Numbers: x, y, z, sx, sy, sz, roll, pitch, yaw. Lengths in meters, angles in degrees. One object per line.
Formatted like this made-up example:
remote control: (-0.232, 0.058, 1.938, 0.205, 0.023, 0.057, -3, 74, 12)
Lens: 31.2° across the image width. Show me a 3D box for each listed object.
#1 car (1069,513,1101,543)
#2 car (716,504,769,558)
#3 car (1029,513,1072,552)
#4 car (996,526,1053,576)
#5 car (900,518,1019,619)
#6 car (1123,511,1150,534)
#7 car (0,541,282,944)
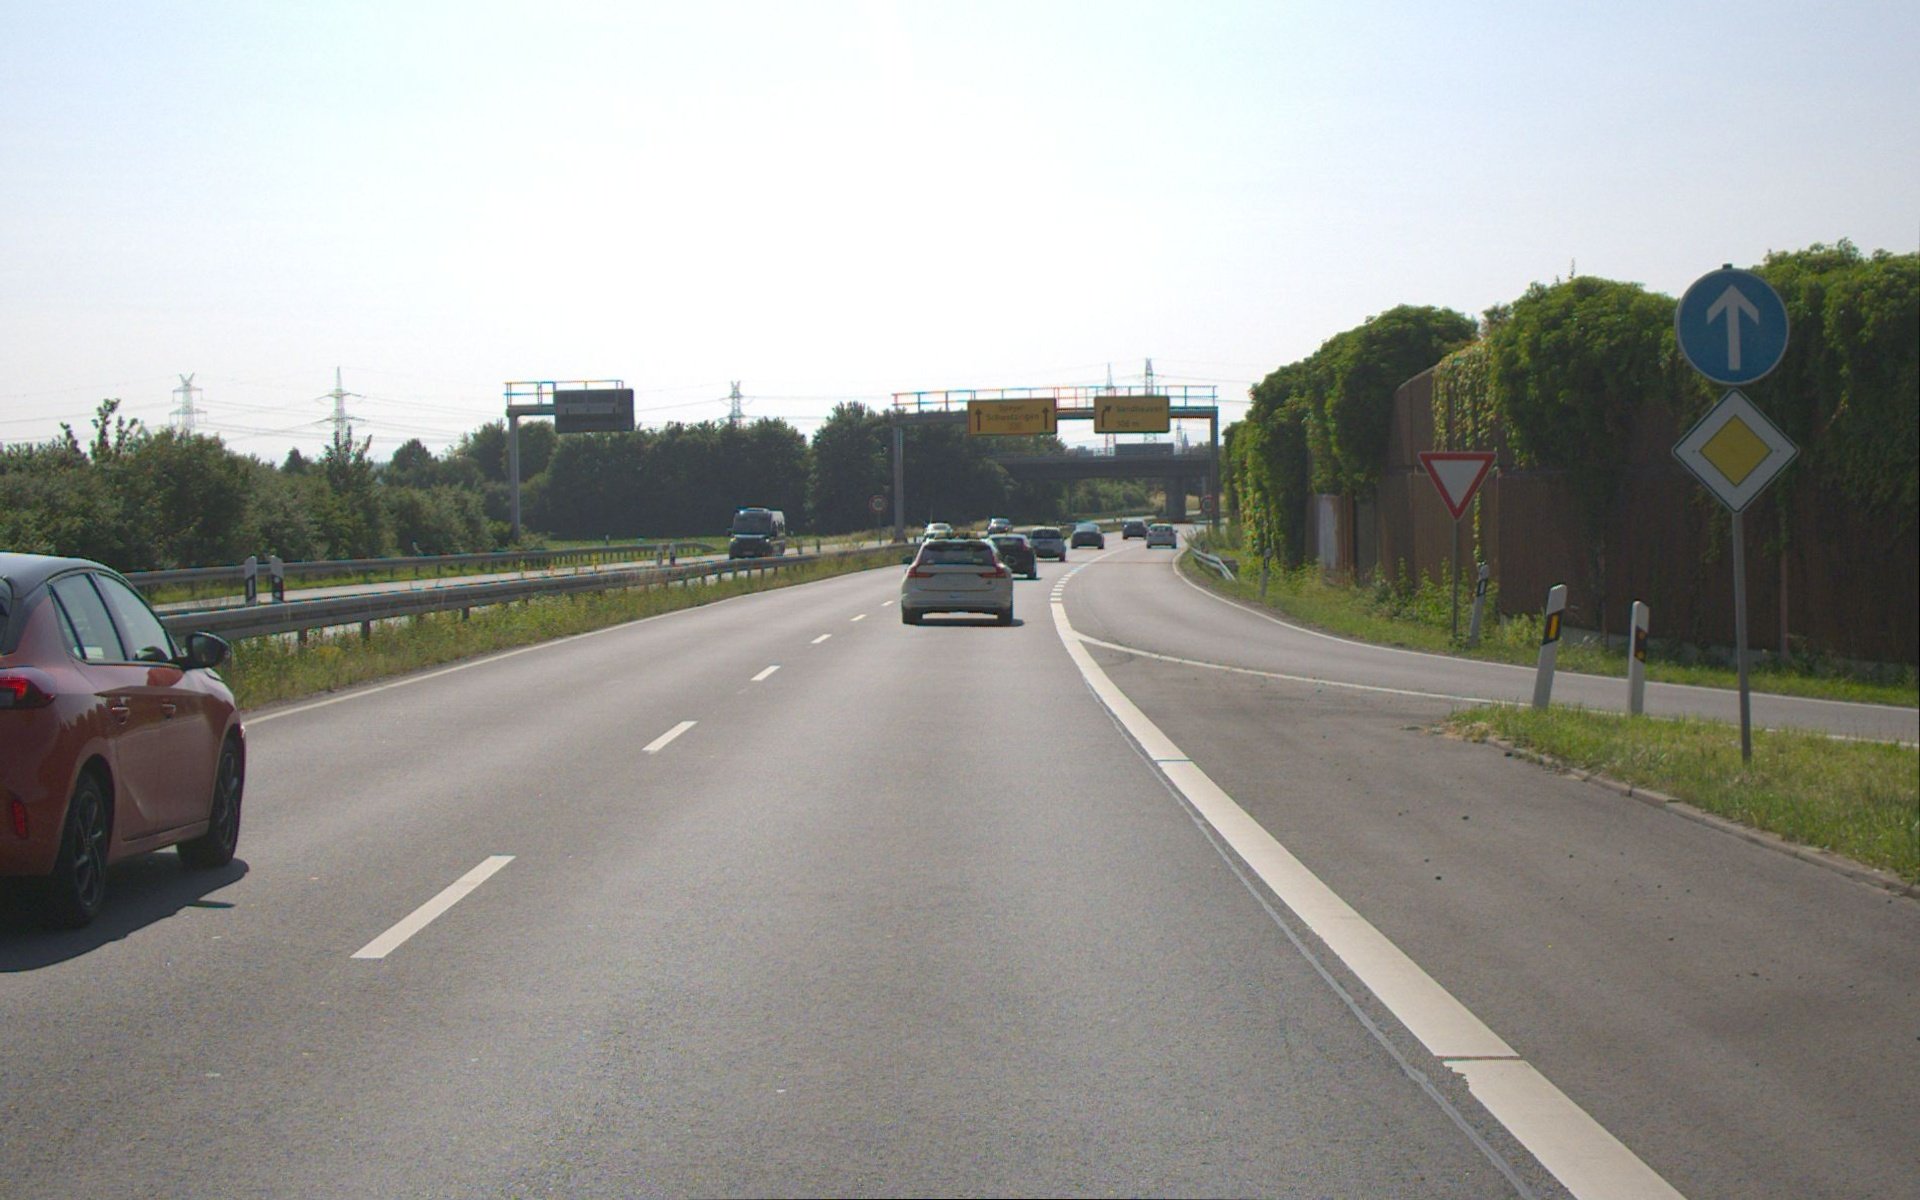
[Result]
car: (7.429, -4.288, 204.727, 1.841, 1.796, 4.000, 0, 1, 2)
car: (-10.528, -3.348, 166.591, 2.139, 2.532, 5.809, 0, 1, 0)
car: (4.162, -3.078, 157.077, 1.769, 1.730, 3.631, 0, 1, 4)
car: (2.044, -1.570, 109.408, 1.793, 1.538, 3.672, 0, 1, 1)
car: (-0.001, -0.573, 59.152, 1.958, 1.596, 4.107, 1, 2, 0)
car: (13.003, -5.695, 253.081, 1.841, 1.692, 4.000, 0, 1, 4)
car: (-4.135, 0.496, 14.460, 1.709, 1.432, 4.412, -1, 1, -1)
